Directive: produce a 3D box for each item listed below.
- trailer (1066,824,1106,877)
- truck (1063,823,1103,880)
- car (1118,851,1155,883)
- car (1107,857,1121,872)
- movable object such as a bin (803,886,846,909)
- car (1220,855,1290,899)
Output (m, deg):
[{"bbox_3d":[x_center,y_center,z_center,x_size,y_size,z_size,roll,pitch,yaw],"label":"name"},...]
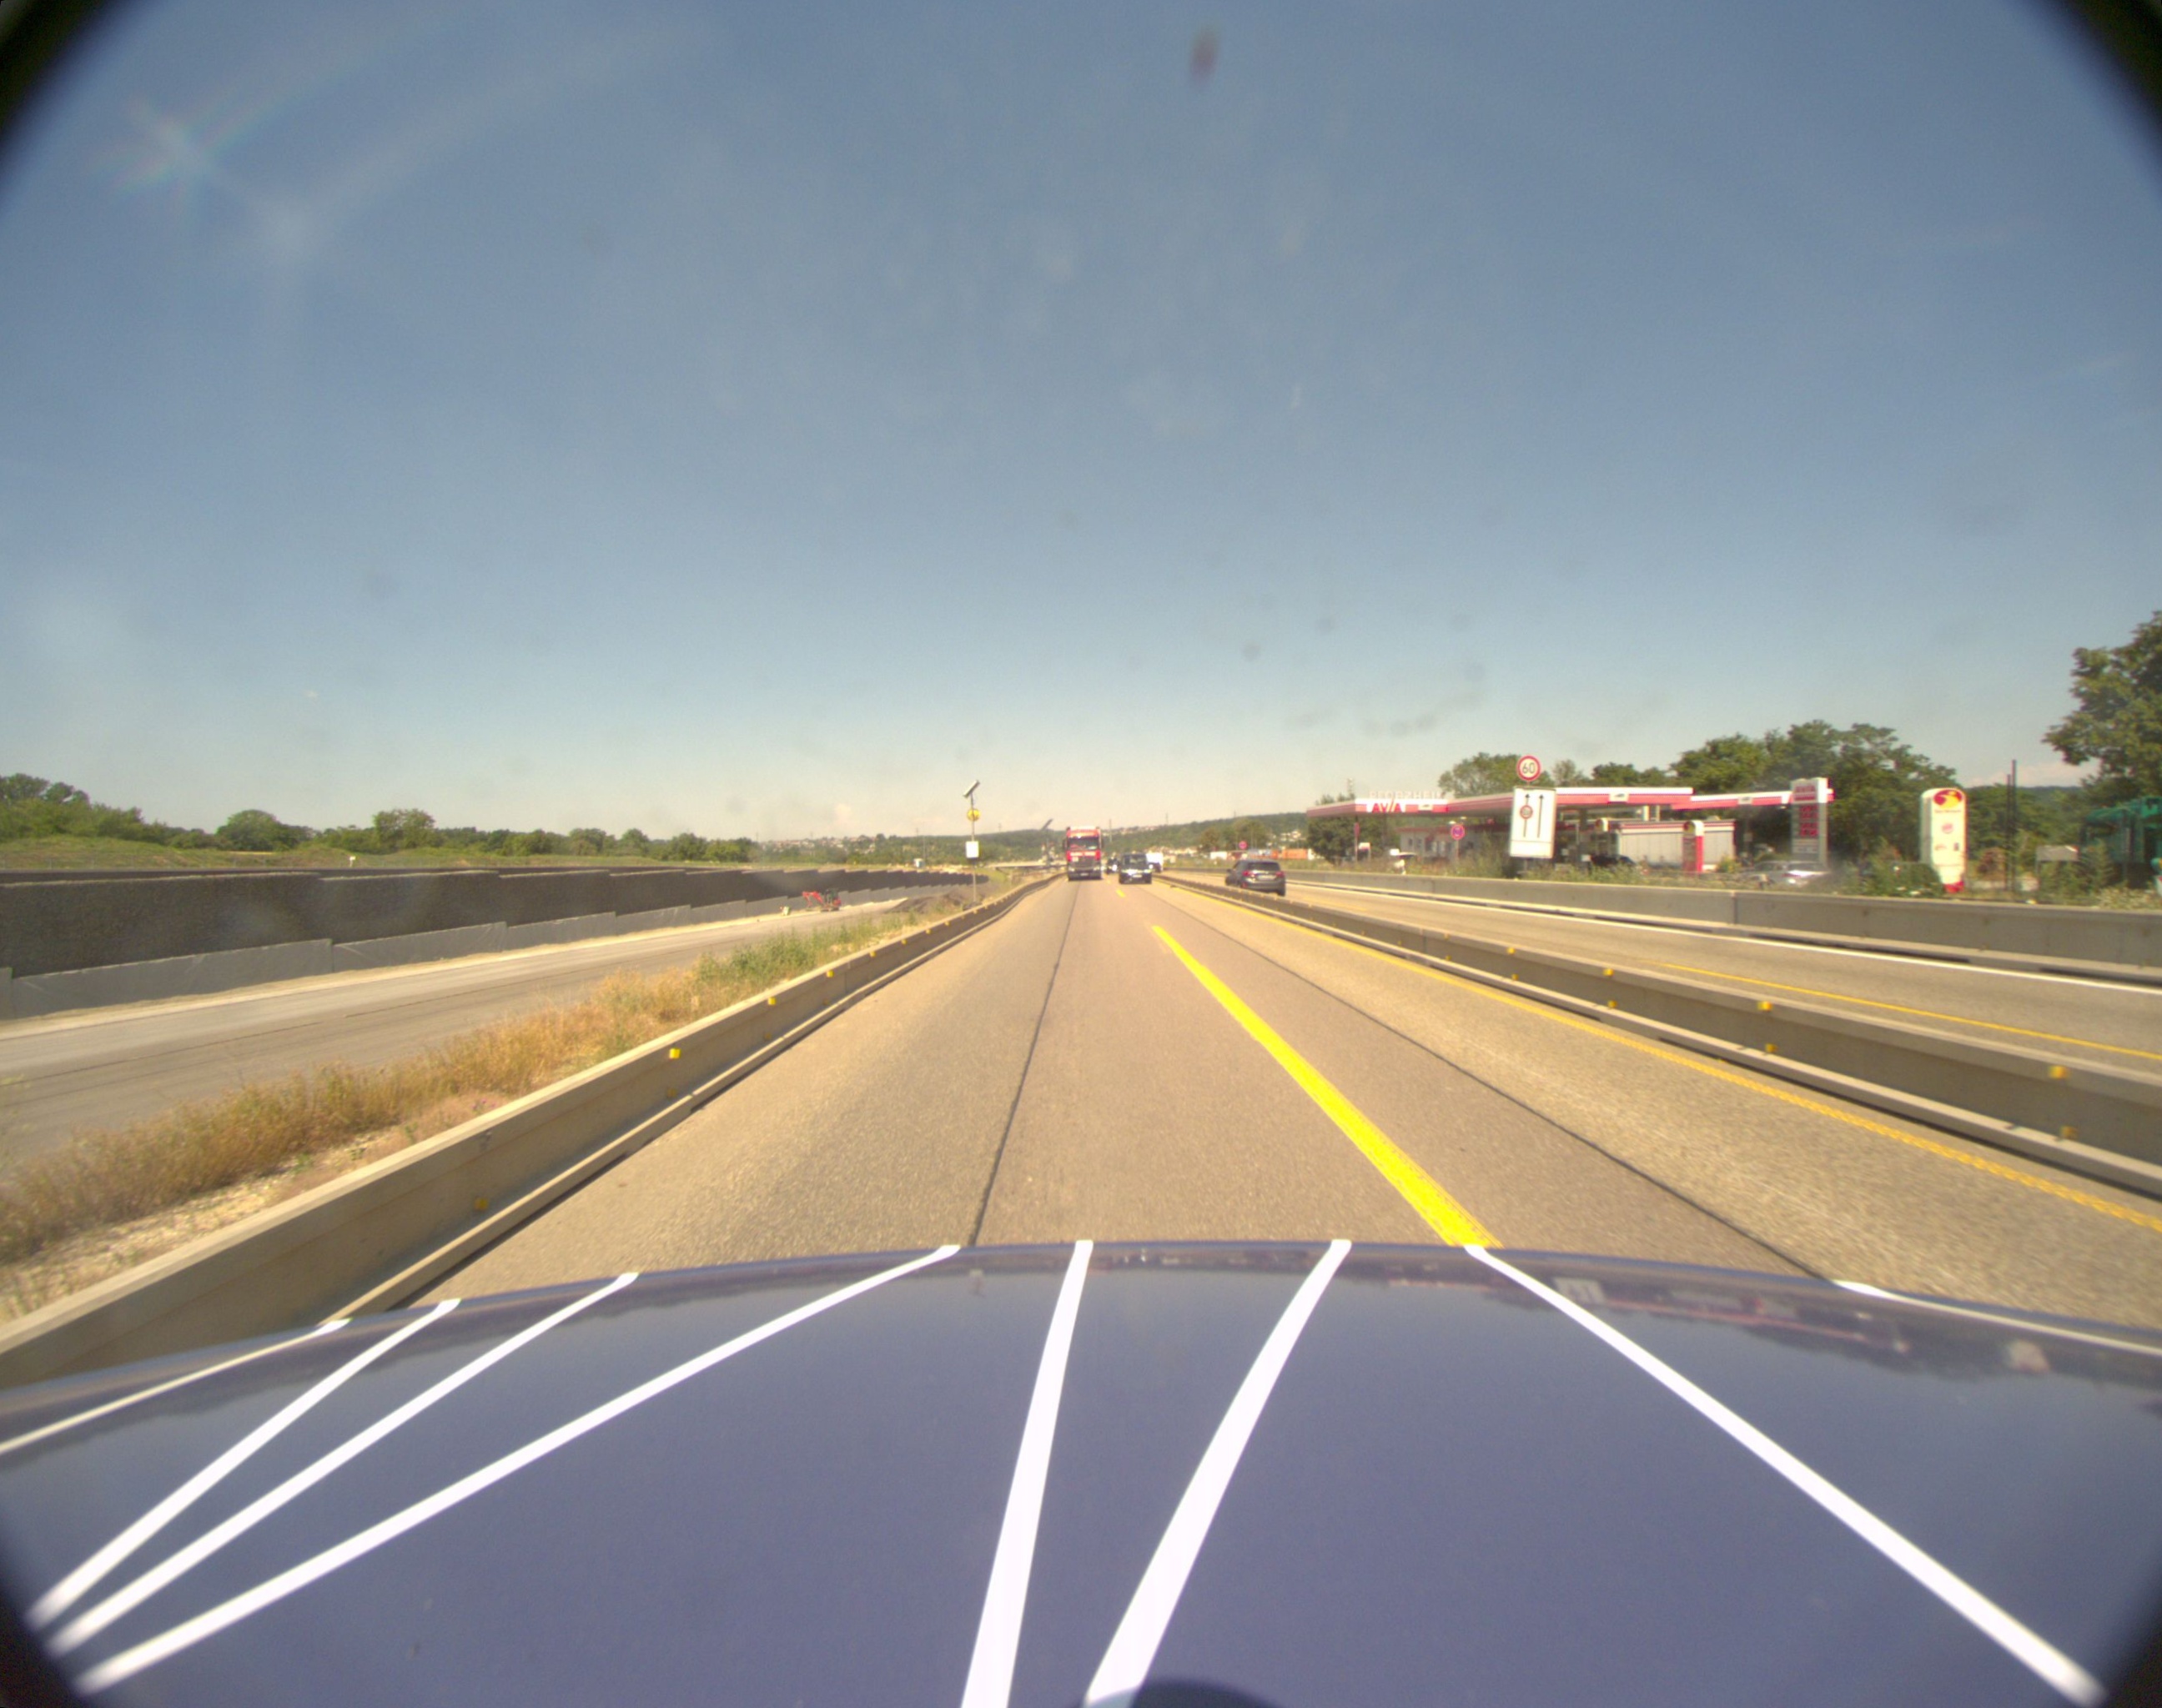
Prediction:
[{"bbox_3d":[0.565,-0.328,63.216,2.701,3.852,12.423,-2,1,3],"label":"trailer"},{"bbox_3d":[0.221,-0.209,56.304,2.626,3.881,4.933,-2,1,2],"label":"truck"},{"bbox_3d":[3.273,0.734,45.348,1.926,1.779,4.603,-1,1,1],"label":"car"},{"bbox_3d":[3.583,1.124,82.629,1.427,1.477,3.414,-2,1,1],"label":"car"},{"bbox_3d":[-27.482,4.670,81.449,4.139,2.135,1.759,-3,1,-26],"label":"movable object such as a bin"},{"bbox_3d":[6.630,0.840,29.383,1.799,1.477,3.999,-2,1,1],"label":"car"}]
